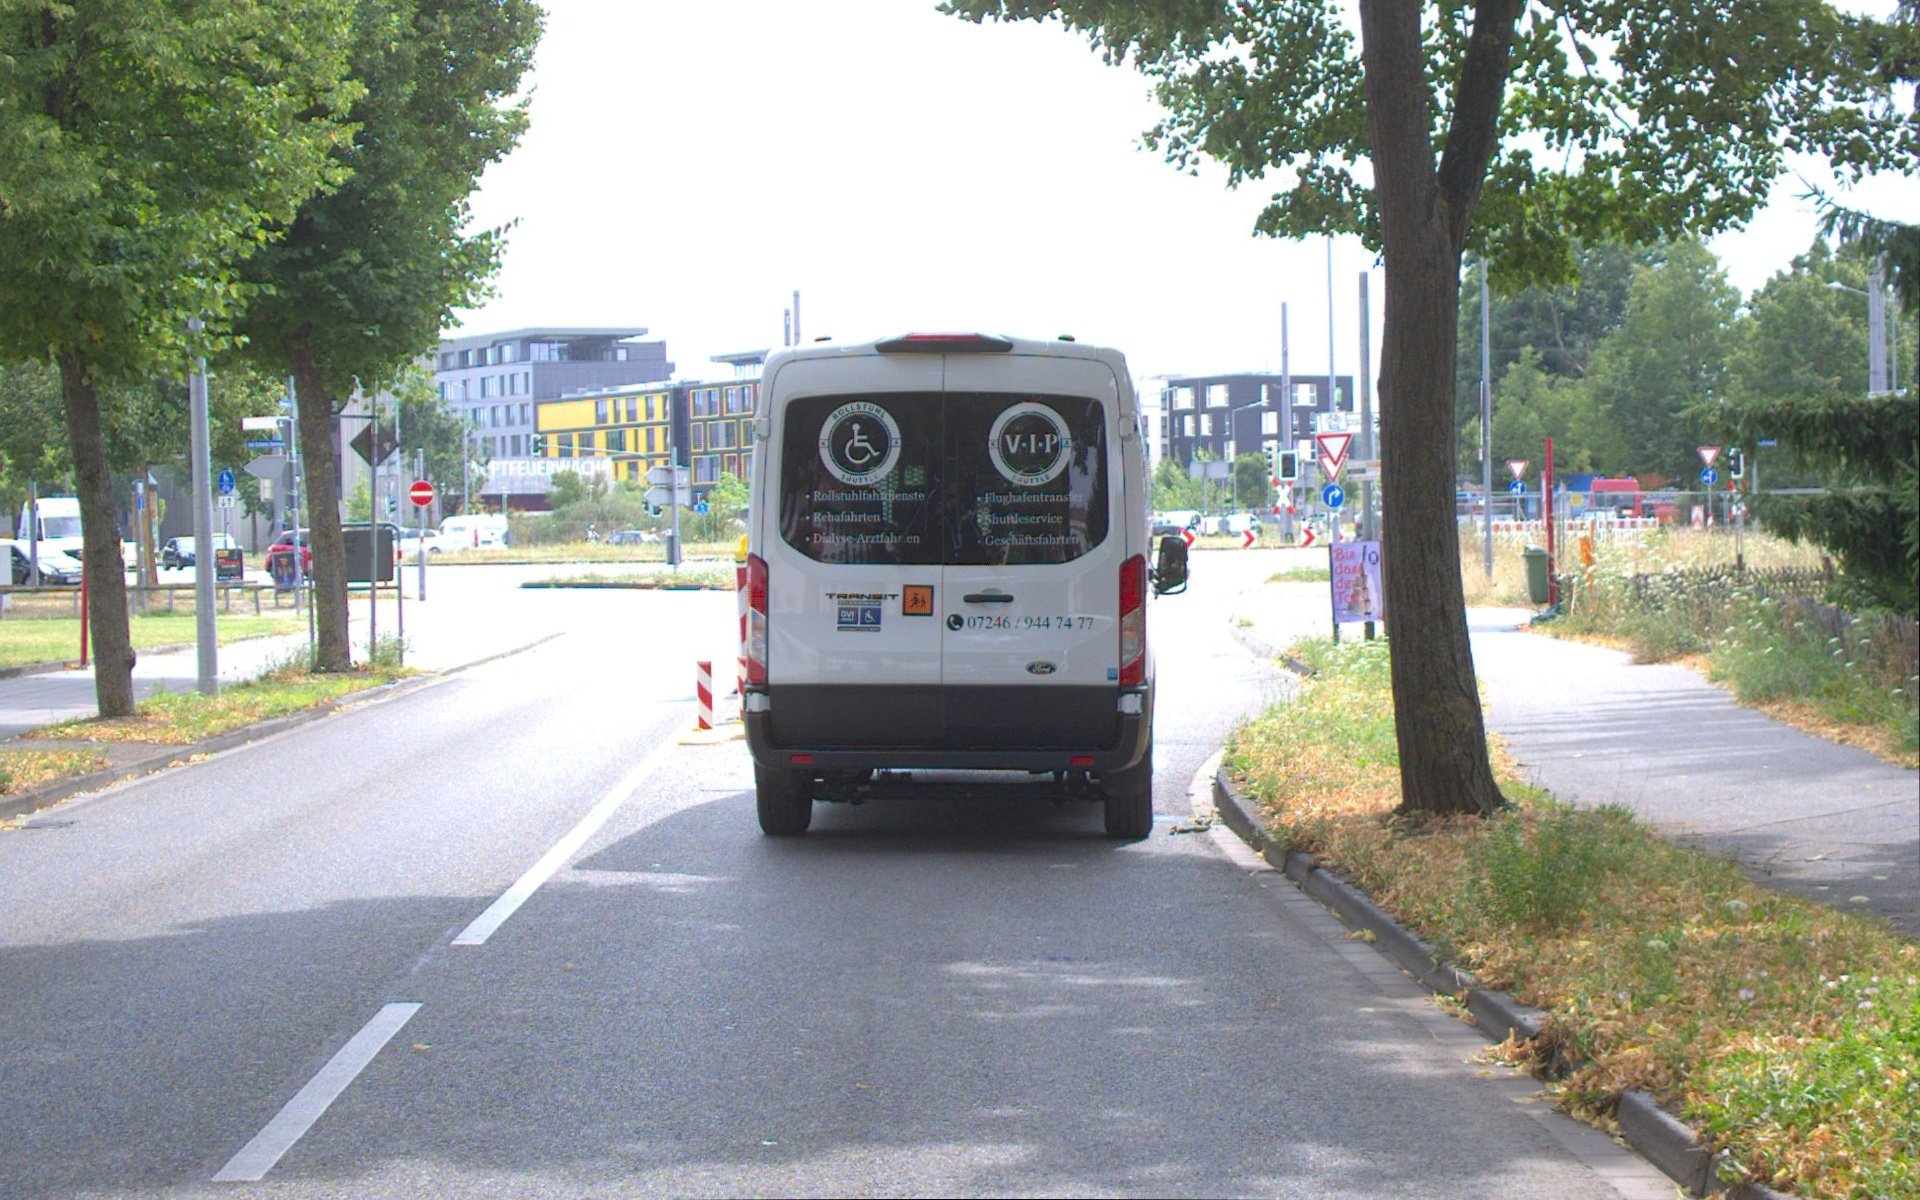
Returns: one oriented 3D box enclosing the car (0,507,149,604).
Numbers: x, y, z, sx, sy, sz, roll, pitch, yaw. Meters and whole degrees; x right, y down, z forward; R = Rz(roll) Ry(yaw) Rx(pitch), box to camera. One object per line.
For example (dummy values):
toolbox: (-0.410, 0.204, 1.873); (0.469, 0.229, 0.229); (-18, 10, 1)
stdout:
car: (-28.492, -1.406, 110.002); (2.612, 2.841, 5.673); (-4, 2, -39)

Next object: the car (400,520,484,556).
car: (-27.333, -3.259, 181.360); (3.986, 1.656, 1.891); (-3, 1, -22)

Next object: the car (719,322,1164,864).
car: (0.030, -0.078, 18.260); (2.063, 2.531, 4.000); (-1, 1, 4)

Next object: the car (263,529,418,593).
car: (-18.171, -1.135, 100.835); (3.990, 1.656, 1.889); (-2, 1, 19)

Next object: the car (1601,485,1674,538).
car: (24.825, -3.255, 125.796); (2.008, 1.810, 4.408); (-2, 1, 18)
